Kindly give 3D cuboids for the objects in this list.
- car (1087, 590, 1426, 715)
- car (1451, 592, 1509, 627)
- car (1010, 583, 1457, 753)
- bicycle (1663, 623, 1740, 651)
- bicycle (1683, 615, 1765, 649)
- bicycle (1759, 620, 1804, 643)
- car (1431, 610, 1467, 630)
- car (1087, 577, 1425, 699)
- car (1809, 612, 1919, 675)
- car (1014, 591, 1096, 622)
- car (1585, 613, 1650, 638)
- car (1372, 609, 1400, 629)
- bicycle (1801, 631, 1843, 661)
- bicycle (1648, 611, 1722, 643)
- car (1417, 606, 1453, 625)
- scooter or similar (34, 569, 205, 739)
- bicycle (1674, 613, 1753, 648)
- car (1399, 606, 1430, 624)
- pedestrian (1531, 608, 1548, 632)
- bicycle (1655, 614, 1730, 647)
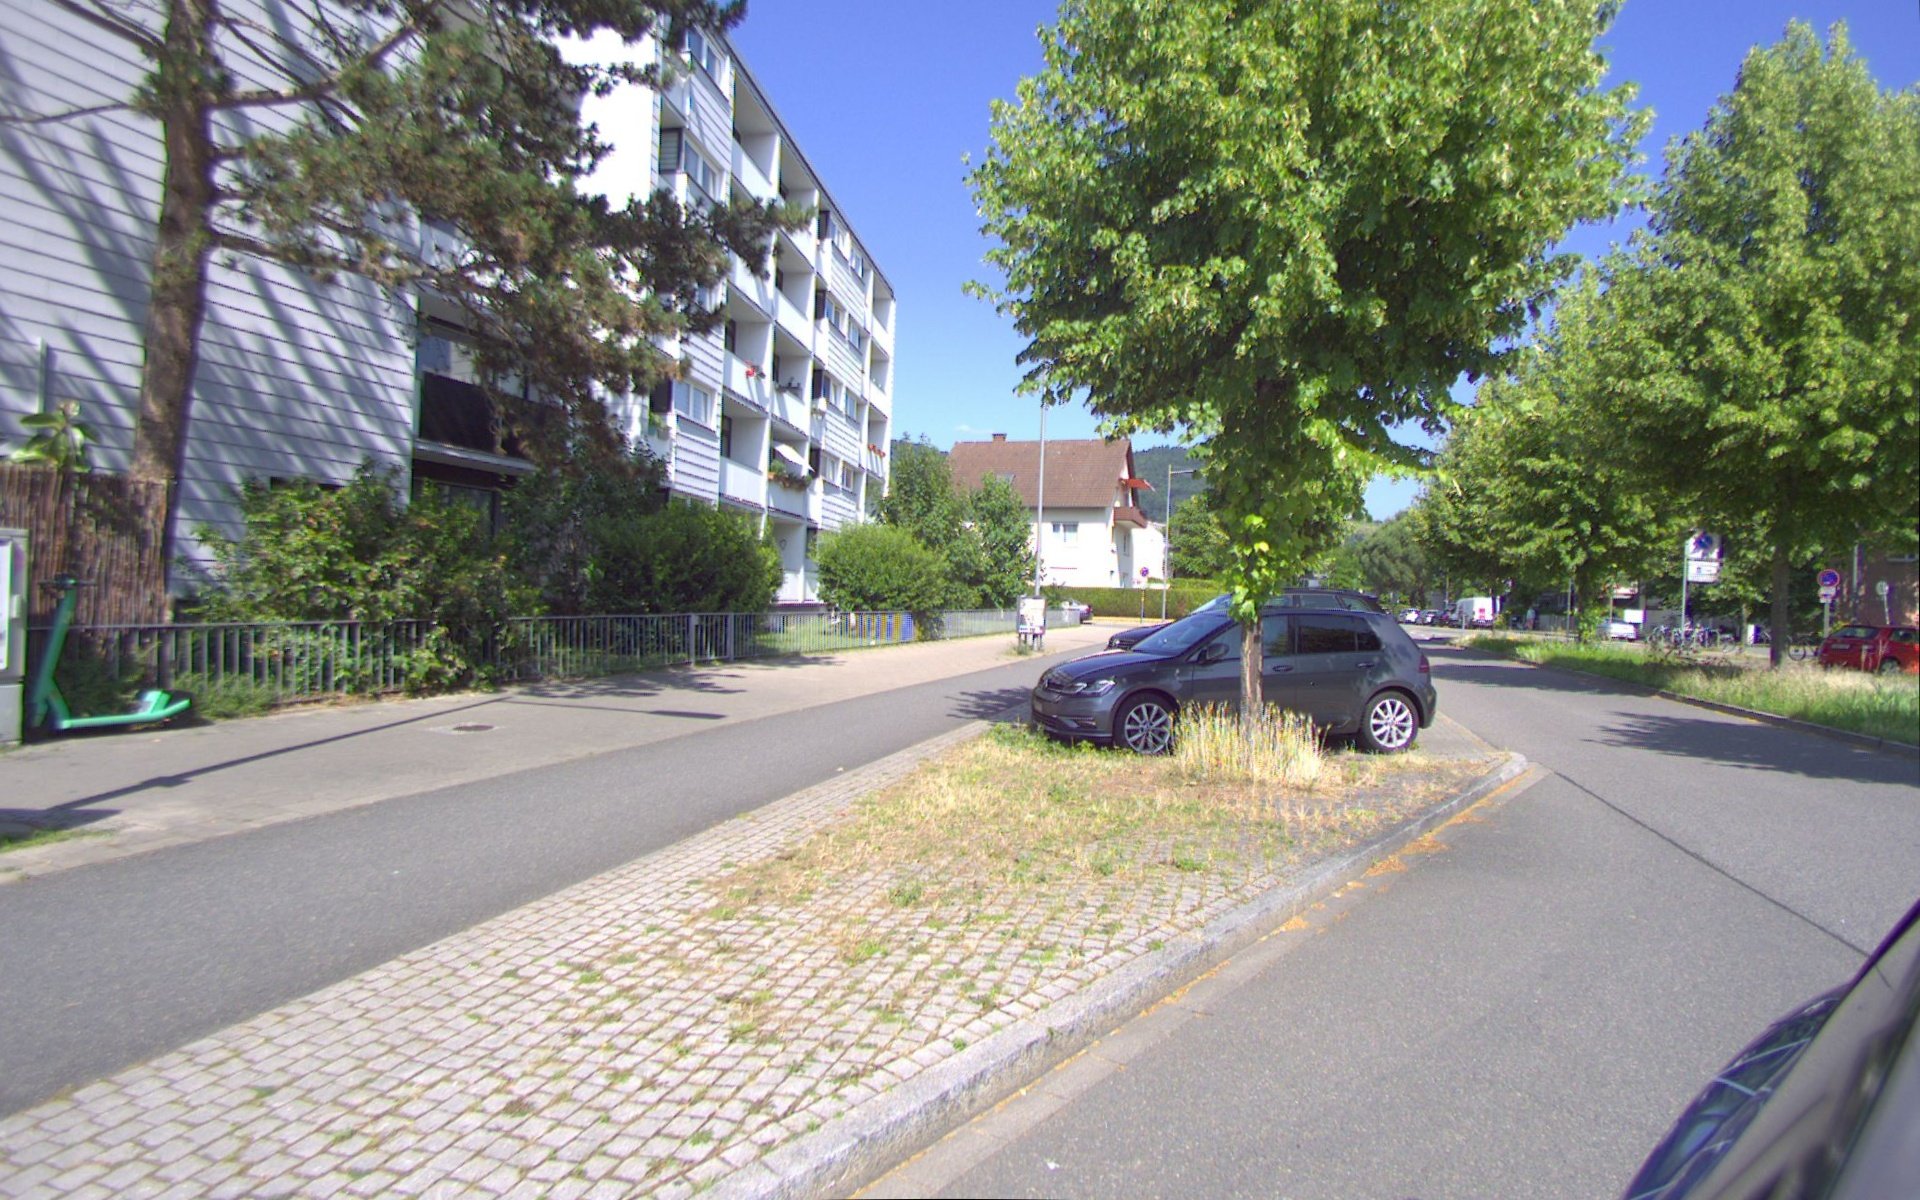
[{"bbox_3d":[3.857,0.669,13.450,3.917,1.492,1.772,1,0,-11],"label":"car"},{"bbox_3d":[41.367,0.733,80.674,2.060,2.528,5.940,3,0,7],"label":"car"},{"bbox_3d":[2.757,0.660,10.643,4.031,1.549,2.004,1,0,-12],"label":"car"},{"bbox_3d":[31.546,1.555,43.092,2.518,1.000,0.735,3,0,17],"label":"bicycle"},{"bbox_3d":[30.930,1.273,41.031,2.518,1.272,0.735,2,0,17],"label":"bicycle"},{"bbox_3d":[41.199,1.563,50.793,0.370,1.094,1.718,2,-1,-31],"label":"bicycle"},{"bbox_3d":[41.855,1.670,86.726,1.698,1.578,3.987,3,0,10],"label":"car"},{"bbox_3d":[4.483,0.564,15.554,4.647,1.681,1.756,2,0,-12],"label":"car"},{"bbox_3d":[24.838,1.166,26.261,3.922,1.485,2.001,3,0,-2],"label":"car"},{"bbox_3d":[5.115,0.329,54.507,4.077,1.416,1.799,2,-2,19],"label":"car"},{"bbox_3d":[38.446,1.481,59.290,1.698,1.282,3.987,3,0,10],"label":"car"},{"bbox_3d":[39.397,1.739,93.682,1.721,1.566,4.056,3,1,14],"label":"car"},{"bbox_3d":[28.900,1.532,33.950,0.514,0.914,1.265,3,1,13],"label":"bicycle"},{"bbox_3d":[32.433,1.208,45.313,2.518,1.272,0.735,3,0,17],"label":"bicycle"},{"bbox_3d":[42.861,1.363,91.470,1.698,1.578,4.657,3,0,10],"label":"car"},{"bbox_3d":[-6.207,0.378,7.510,0.229,1.181,0.949,1,0,25],"label":"scooter or similar"},{"bbox_3d":[31.211,1.247,41.960,2.489,1.272,0.735,3,0,17],"label":"bicycle"},{"bbox_3d":[43.768,1.413,97.561,1.698,1.578,3.987,3,0,10],"label":"car"},{"bbox_3d":[44.411,1.506,77.583,0.963,1.802,0.722,2,0,15],"label":"pedestrian"},{"bbox_3d":[32.117,1.321,44.402,2.518,1.255,0.735,3,0,17],"label":"bicycle"}]
